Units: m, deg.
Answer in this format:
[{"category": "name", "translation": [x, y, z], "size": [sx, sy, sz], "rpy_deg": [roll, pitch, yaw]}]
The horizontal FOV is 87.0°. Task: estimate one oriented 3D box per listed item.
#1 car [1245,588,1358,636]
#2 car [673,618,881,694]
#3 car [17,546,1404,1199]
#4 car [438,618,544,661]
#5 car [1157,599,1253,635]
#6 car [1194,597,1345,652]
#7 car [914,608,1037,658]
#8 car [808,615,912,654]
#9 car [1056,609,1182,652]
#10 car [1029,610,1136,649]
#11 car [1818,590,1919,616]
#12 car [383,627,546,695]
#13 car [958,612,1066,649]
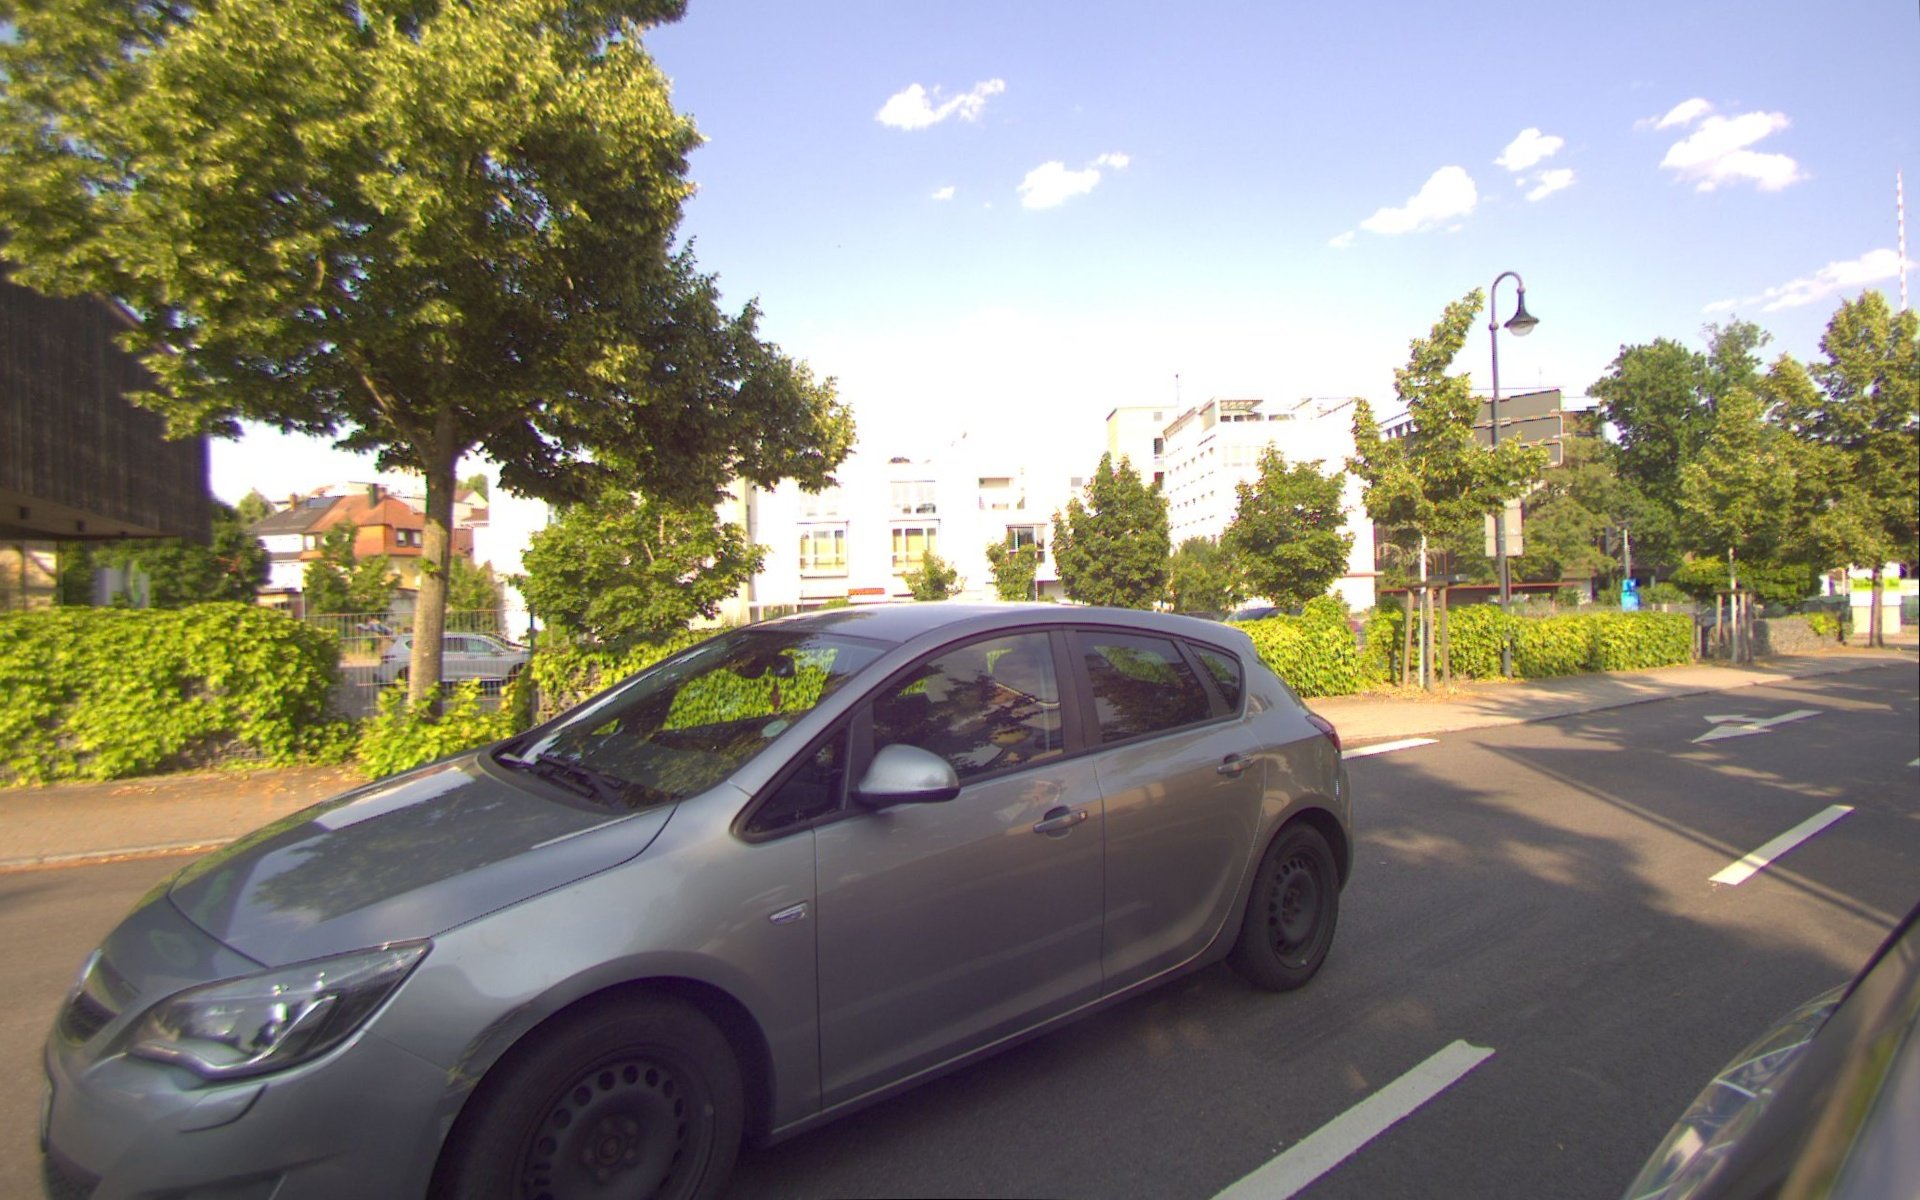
[{"category": "car", "translation": [14.423, 0.486, 42.719], "size": [4.555, 1.878, 2.001], "rpy_deg": [-1, -1, -31]}, {"category": "car", "translation": [-4.352, 1.268, 24.202], "size": [4.458, 1.559, 2.001], "rpy_deg": [-1, -1, -31]}, {"category": "car", "translation": [-0.314, 0.675, 3.522], "size": [4.230, 1.509, 1.724], "rpy_deg": [0, 0, -40]}, {"category": "car", "translation": [-19.563, 1.617, 42.194], "size": [3.919, 1.649, 2.002], "rpy_deg": [-1, -1, -28]}, {"category": "car", "translation": [12.093, 0.832, 49.978], "size": [4.457, 1.669, 2.001], "rpy_deg": [-1, -1, -31]}, {"category": "car", "translation": [9.667, 0.768, 31.540], "size": [4.458, 1.552, 2.001], "rpy_deg": [-1, -3, -31]}, {"category": "car", "translation": [0.588, 1.247, 38.113], "size": [4.227, 1.746, 1.897], "rpy_deg": [0, -3, -26]}, {"category": "car", "translation": [-4.668, 1.563, 47.061], "size": [4.452, 1.669, 2.004], "rpy_deg": [-1, -1, -21]}, {"category": "car", "translation": [6.017, 1.111, 38.266], "size": [4.458, 1.462, 2.001], "rpy_deg": [-1, -1, -31]}, {"category": "car", "translation": [4.941, 1.162, 40.763], "size": [3.875, 1.462, 2.001], "rpy_deg": [-1, -1, -31]}, {"category": "car", "translation": [52.050, 0.202, 57.979], "size": [1.898, 1.438, 4.006], "rpy_deg": [-1, -1, -25]}, {"category": "car", "translation": [-13.714, 1.623, 28.106], "size": [3.919, 1.649, 2.002], "rpy_deg": [-1, -1, -28]}, {"category": "car", "translation": [2.325, 1.315, 44.518], "size": [4.458, 1.462, 1.880], "rpy_deg": [-1, -1, -31]}]
